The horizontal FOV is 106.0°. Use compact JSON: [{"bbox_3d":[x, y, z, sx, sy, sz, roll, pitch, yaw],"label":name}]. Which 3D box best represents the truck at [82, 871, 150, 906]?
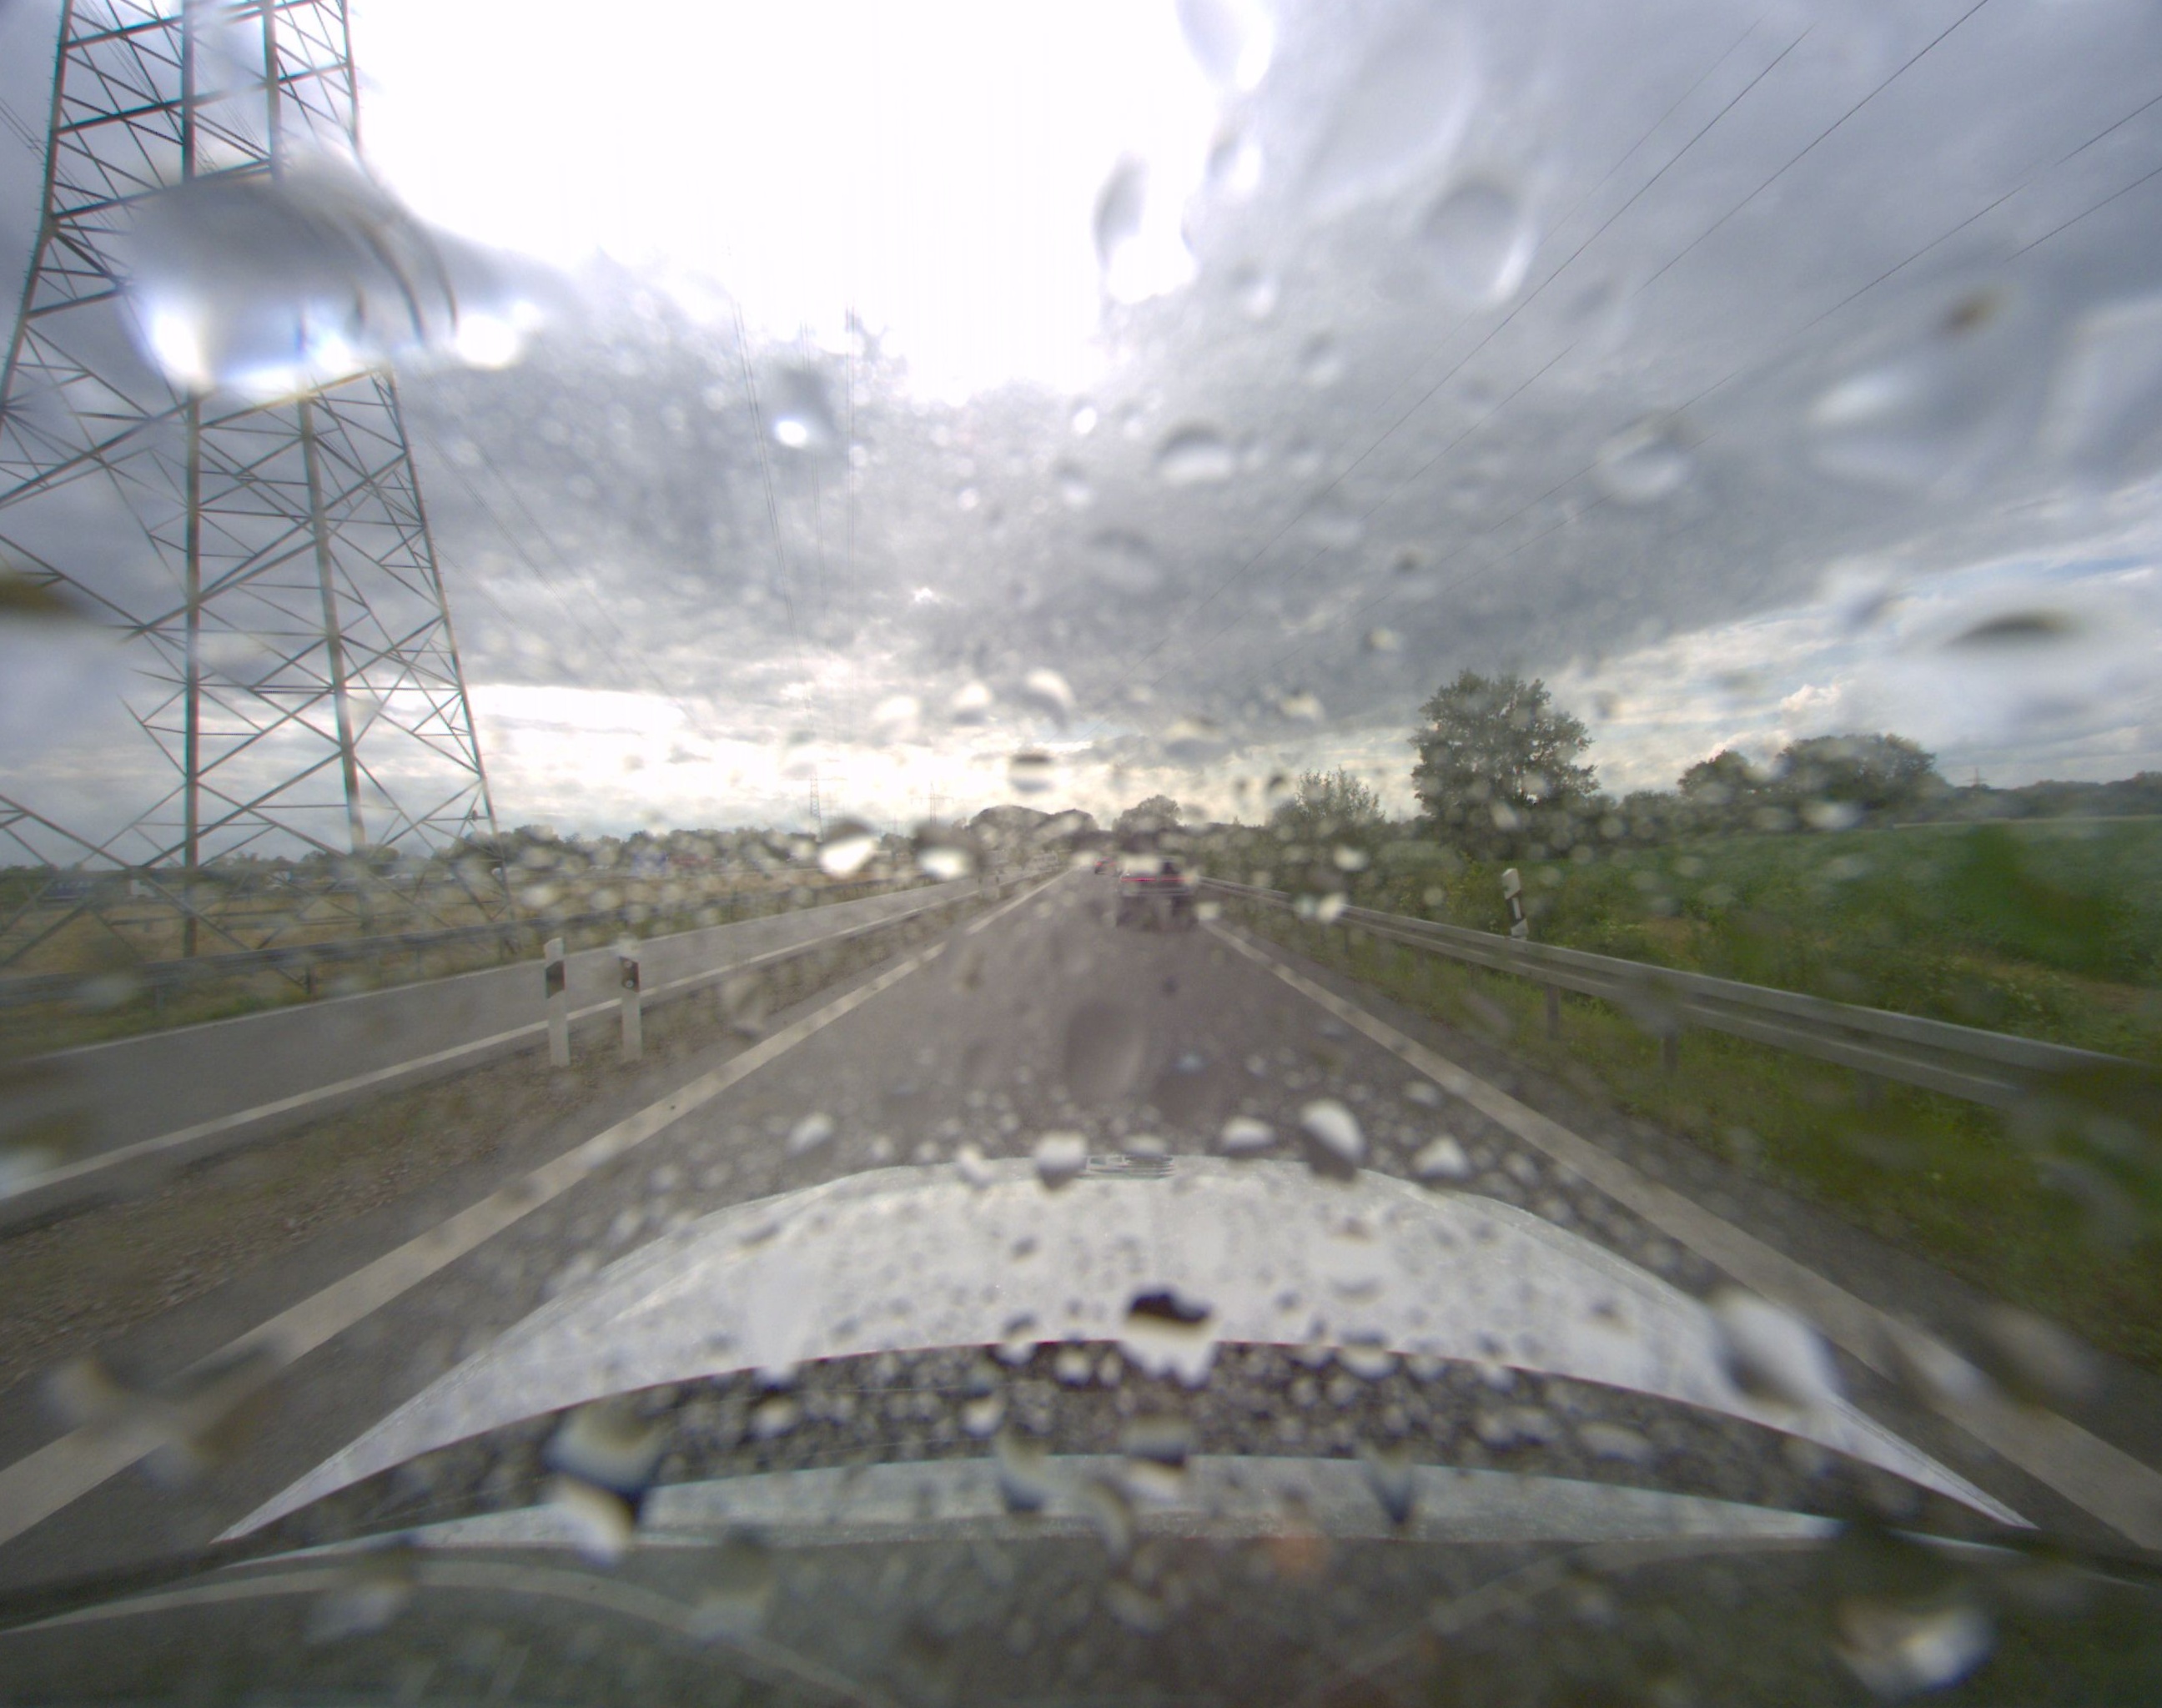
[{"bbox_3d":[-136.276,4.835,115.100,3.047,4.478,5.091,-2,2,12],"label":"truck"}]

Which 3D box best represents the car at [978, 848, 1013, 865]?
[{"bbox_3d":[-16.648,0.431,157.882,3.163,2.951,7.123,-4,3,-41],"label":"car"}]

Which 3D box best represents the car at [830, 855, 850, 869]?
[{"bbox_3d":[-62.825,2.125,211.958,3.402,3.610,8.964,-2,0,-27],"label":"car"}]

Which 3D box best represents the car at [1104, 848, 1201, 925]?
[{"bbox_3d":[1.616,0.665,19.151,1.985,1.566,4.153,-2,0,3],"label":"car"}]

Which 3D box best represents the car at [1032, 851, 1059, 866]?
[{"bbox_3d":[-6.117,0.763,138.463,2.368,2.306,5.077,-3,3,-32],"label":"car"}]

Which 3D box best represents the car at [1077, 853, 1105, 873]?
[{"bbox_3d":[1.245,1.097,103.523,2.353,2.306,5.108,-2,2,-12],"label":"car"}]

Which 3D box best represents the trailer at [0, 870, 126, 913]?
[{"bbox_3d":[-137.698,4.942,108.564,3.027,4.634,13.352,-2,2,13],"label":"trailer"}]

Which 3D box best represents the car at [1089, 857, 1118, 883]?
[{"bbox_3d":[1.904,1.326,69.916,2.115,2.018,5.531,-2,0,-2],"label":"car"}]
